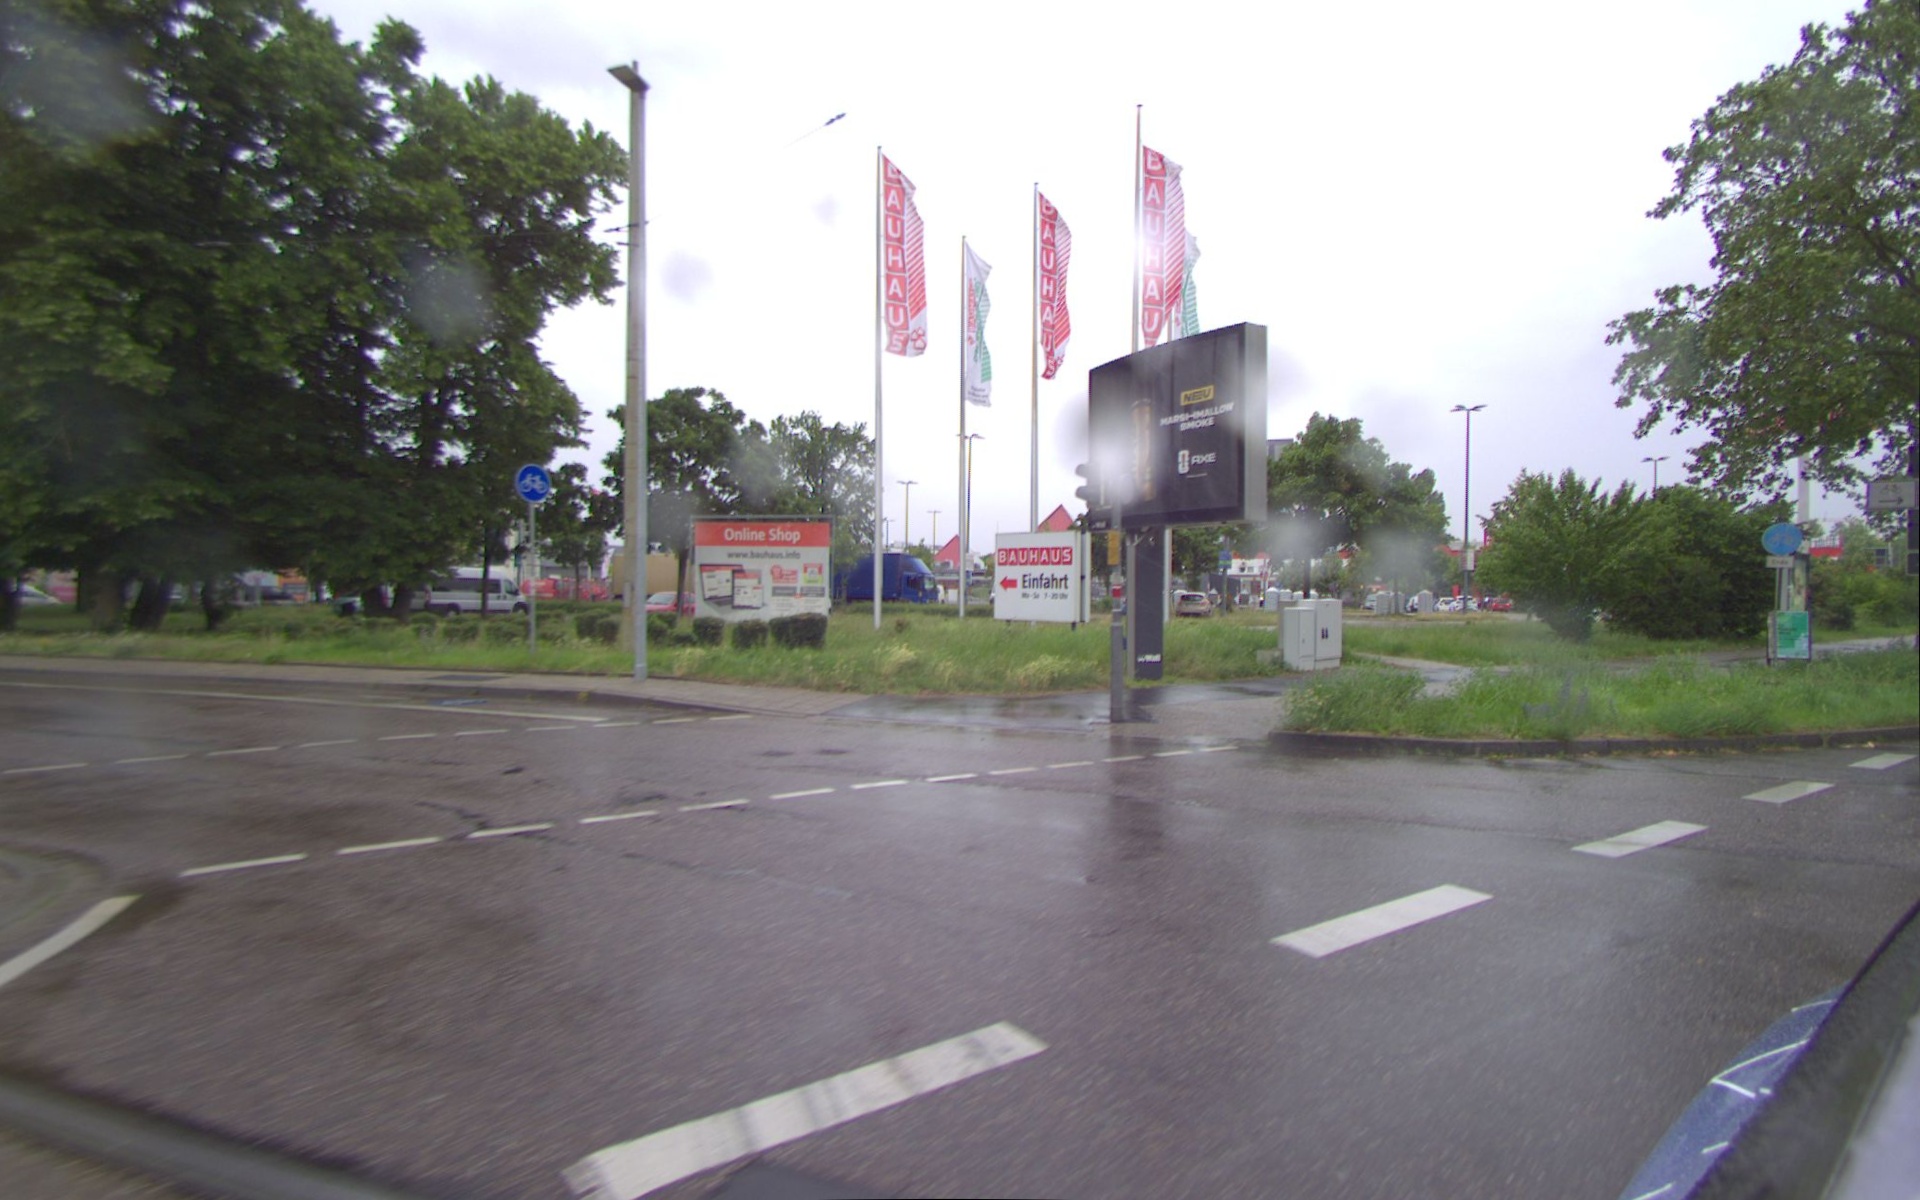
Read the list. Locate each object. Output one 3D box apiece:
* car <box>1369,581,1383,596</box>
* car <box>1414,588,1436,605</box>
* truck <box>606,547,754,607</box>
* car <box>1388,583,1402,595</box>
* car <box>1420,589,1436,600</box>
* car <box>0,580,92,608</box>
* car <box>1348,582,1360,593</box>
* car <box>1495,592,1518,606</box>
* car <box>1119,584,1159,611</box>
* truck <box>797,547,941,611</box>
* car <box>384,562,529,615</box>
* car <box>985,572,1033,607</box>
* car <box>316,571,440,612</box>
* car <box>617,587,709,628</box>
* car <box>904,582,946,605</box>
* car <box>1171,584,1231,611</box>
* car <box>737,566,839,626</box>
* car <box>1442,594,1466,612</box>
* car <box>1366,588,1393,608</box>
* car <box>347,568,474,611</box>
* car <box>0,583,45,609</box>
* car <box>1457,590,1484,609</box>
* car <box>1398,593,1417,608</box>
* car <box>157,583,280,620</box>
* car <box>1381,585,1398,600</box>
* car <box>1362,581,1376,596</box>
[{"bbox_3d":[67.290,-1.877,163.771,1.909,2.510,4.237,0,1,25],"label":"car"},{"bbox_3d":[44.758,-0.371,97.375,1.909,1.572,4.237,0,1,25],"label":"car"},{"bbox_3d":[-17.502,-1.364,63.164,9.285,3.514,2.535,0,-1,21],"label":"truck"},{"bbox_3d":[65.056,-1.698,151.287,1.909,1.748,4.237,0,1,25],"label":"car"},{"bbox_3d":[64.030,-0.760,138.517,1.909,1.572,4.237,0,1,25],"label":"car"},{"bbox_3d":[-60.496,-0.410,66.459,1.941,1.753,5.002,0,1,20],"label":"car"},{"bbox_3d":[71.908,-2.284,184.725,1.909,2.129,4.237,0,1,25],"label":"car"},{"bbox_3d":[60.408,-0.134,111.933,1.909,1.572,4.237,0,1,25],"label":"car"},{"bbox_3d":[9.406,-0.156,52.993,1.841,1.309,4.033,0,1,13],"label":"car"},{"bbox_3d":[-5.206,-1.189,58.023,7.912,3.514,2.537,0,-1,19],"label":"truck"},{"bbox_3d":[-22.423,-0.528,45.455,2.165,2.231,6.025,0,1,20],"label":"car"},{"bbox_3d":[3.628,-0.761,73.185,2.298,2.391,5.489,0,1,16],"label":"car"},{"bbox_3d":[-27.845,-0.413,48.624,2.165,1.859,5.001,0,1,20],"label":"car"},{"bbox_3d":[-12.268,0.255,42.014,1.970,1.616,3.984,0,1,14],"label":"car"},{"bbox_3d":[-2.964,-0.609,87.389,2.029,1.919,4.765,0,1,19],"label":"car"},{"bbox_3d":[12.217,-0.170,51.165,1.853,1.309,4.007,1,1,30],"label":"car"},{"bbox_3d":[-6.731,-0.179,40.269,2.160,2.231,5.081,0,1,14],"label":"car"},{"bbox_3d":[47.129,0.270,96.606,1.909,1.572,4.237,0,1,25],"label":"car"},{"bbox_3d":[35.504,-0.179,85.668,1.906,1.572,4.245,0,1,20],"label":"car"},{"bbox_3d":[-25.174,-0.508,46.584,2.165,1.859,5.001,0,1,20],"label":"car"},{"bbox_3d":[-65.688,-0.243,68.720,1.941,1.753,5.002,0,1,20],"label":"car"},{"bbox_3d":[43.055,-0.064,85.396,1.909,1.572,4.237,0,1,25],"label":"car"},{"bbox_3d":[50.046,0.052,113.198,1.909,1.572,4.237,0,1,25],"label":"car"},{"bbox_3d":[-39.469,0.041,54.041,2.165,1.859,5.001,0,1,20],"label":"car"},{"bbox_3d":[54.995,-0.960,129.531,1.910,1.921,4.709,0,1,25],"label":"car"},{"bbox_3d":[68.720,-1.960,169.964,1.909,2.510,4.237,0,1,25],"label":"car"}]
